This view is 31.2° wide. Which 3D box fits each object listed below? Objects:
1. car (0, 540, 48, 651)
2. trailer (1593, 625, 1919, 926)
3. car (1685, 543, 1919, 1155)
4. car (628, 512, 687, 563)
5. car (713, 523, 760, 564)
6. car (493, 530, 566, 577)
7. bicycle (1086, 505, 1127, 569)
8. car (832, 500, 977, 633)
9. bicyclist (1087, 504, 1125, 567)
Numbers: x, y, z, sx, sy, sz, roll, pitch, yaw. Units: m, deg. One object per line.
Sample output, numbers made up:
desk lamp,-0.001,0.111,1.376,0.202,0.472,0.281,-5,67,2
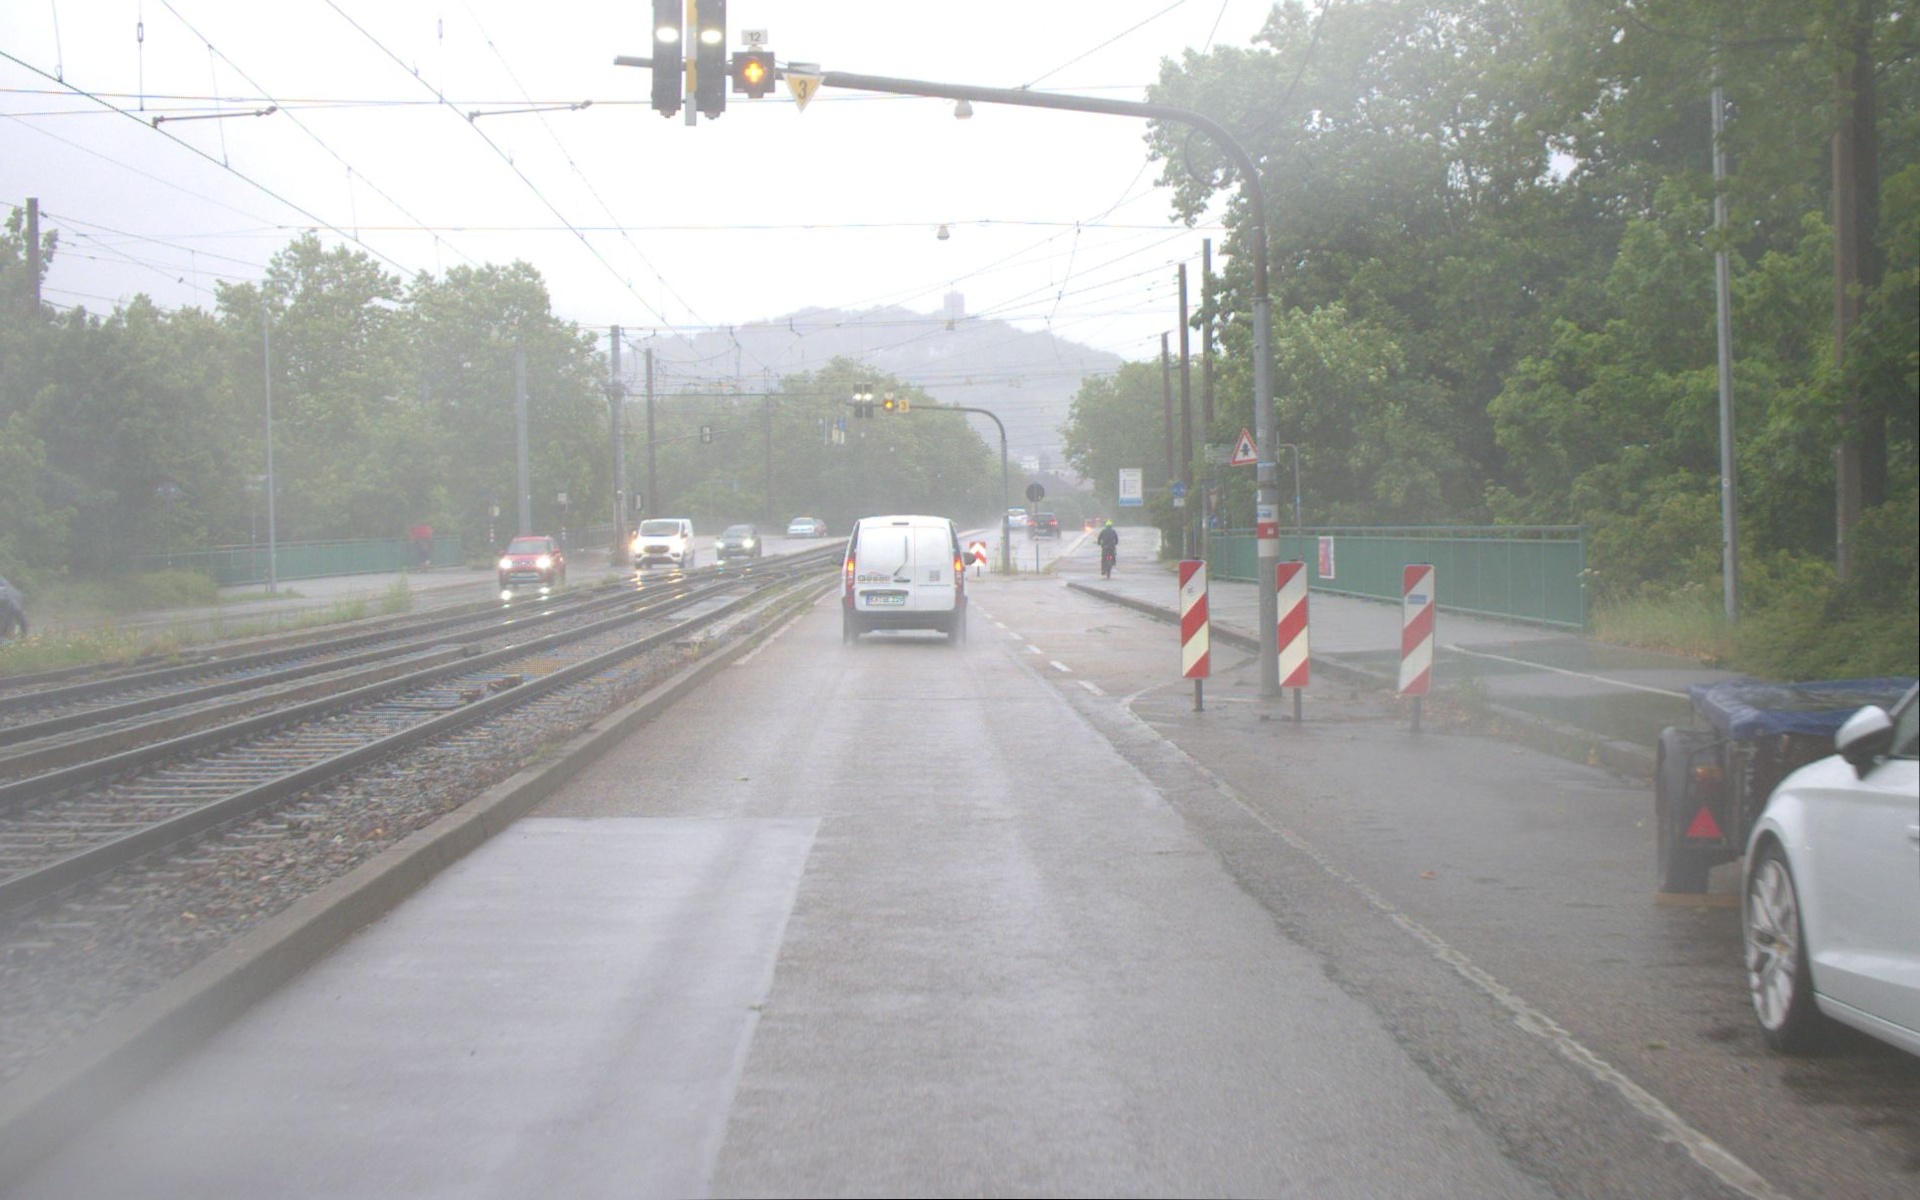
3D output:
car,-13.124,-0.030,43.170,1.993,1.399,5.386,-1,1,-1
trailer,3.565,0.686,14.872,1.377,1.043,3.441,1,1,7
car,3.268,0.629,8.702,1.819,1.481,4.481,1,1,-1
car,-12.153,-2.508,138.345,1.993,2.007,4.000,0,1,0
car,-10.708,-2.720,164.991,1.993,1.941,4.000,0,1,0
car,-13.334,-1.455,106.636,1.819,1.393,4.000,-1,1,-1
bicycle,4.668,-2.001,109.997,1.105,2.007,3.051,0,0,-1
car,-0.786,-0.503,49.590,1.993,1.842,4.000,0,1,0
bicyclist,4.669,-2.045,109.986,1.100,2.007,1.674,0,0,-1
